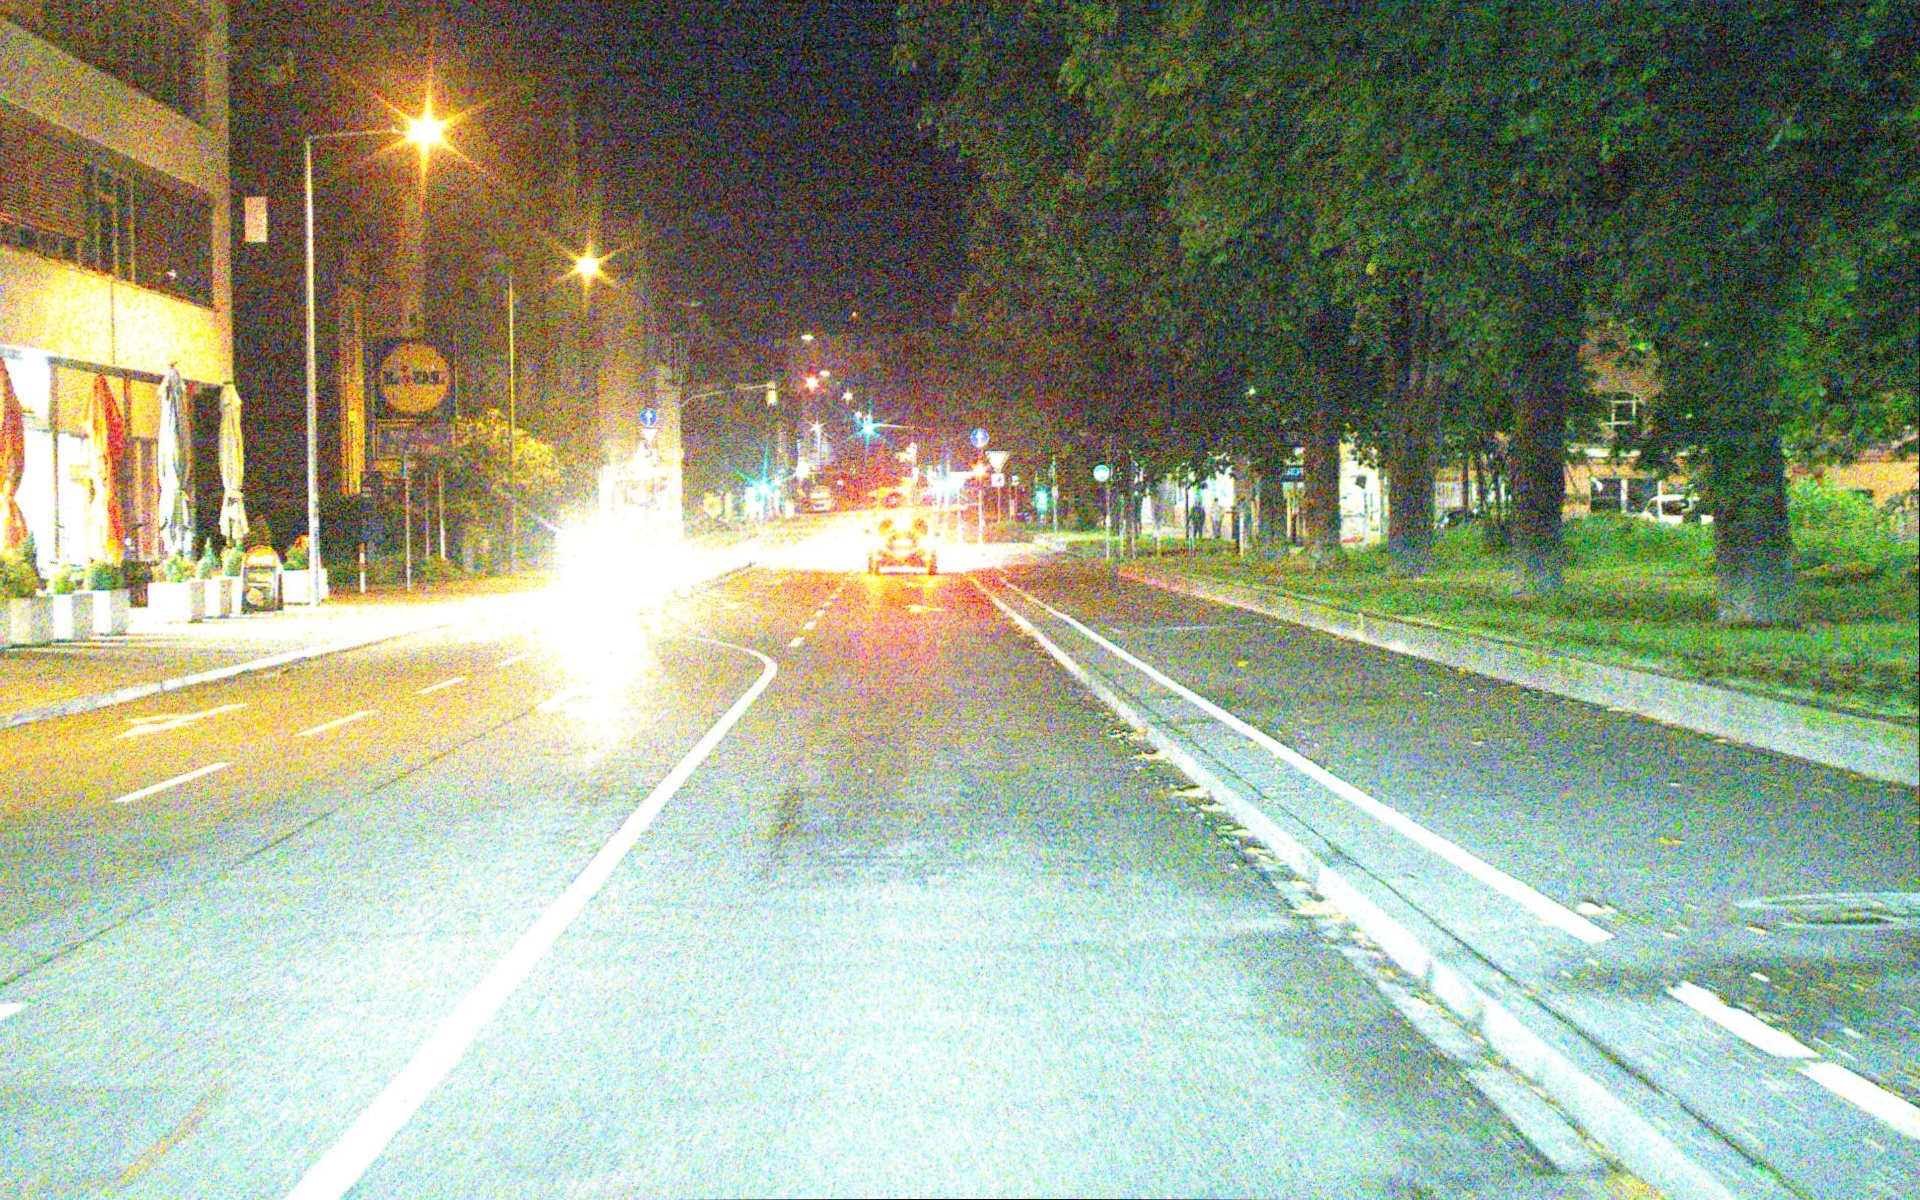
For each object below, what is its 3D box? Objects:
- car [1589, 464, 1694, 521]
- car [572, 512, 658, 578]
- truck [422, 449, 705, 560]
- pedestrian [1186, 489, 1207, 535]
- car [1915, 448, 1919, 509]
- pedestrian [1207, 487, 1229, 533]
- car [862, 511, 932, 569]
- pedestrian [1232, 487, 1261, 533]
[{"bbox_3d":[19.118,-3.008,96.584,1.781,1.528,4.001,-1,2,-6],"label":"car"},{"bbox_3d":[-7.972,-1.297,79.756,1.667,1.423,4.001,-3,2,-2],"label":"car"},{"bbox_3d":[-14.750,-3.549,127.702,10.077,3.705,2.765,-3,2,-13],"label":"truck"},{"bbox_3d":[9.267,-3.447,134.618,0.714,1.763,0.907,-2,2,-1],"label":"pedestrian"},{"bbox_3d":[25.054,-3.027,84.842,1.768,1.528,4.099,-1,2,-1],"label":"car"},{"bbox_3d":[10.095,-3.518,134.398,0.738,1.763,0.907,-2,2,-1],"label":"pedestrian"},{"bbox_3d":[-1.659,-1.639,92.306,1.805,1.489,4.730,1,1,0],"label":"car"},{"bbox_3d":[11.224,-3.528,134.634,0.900,1.763,0.907,-2,2,-8],"label":"pedestrian"}]
